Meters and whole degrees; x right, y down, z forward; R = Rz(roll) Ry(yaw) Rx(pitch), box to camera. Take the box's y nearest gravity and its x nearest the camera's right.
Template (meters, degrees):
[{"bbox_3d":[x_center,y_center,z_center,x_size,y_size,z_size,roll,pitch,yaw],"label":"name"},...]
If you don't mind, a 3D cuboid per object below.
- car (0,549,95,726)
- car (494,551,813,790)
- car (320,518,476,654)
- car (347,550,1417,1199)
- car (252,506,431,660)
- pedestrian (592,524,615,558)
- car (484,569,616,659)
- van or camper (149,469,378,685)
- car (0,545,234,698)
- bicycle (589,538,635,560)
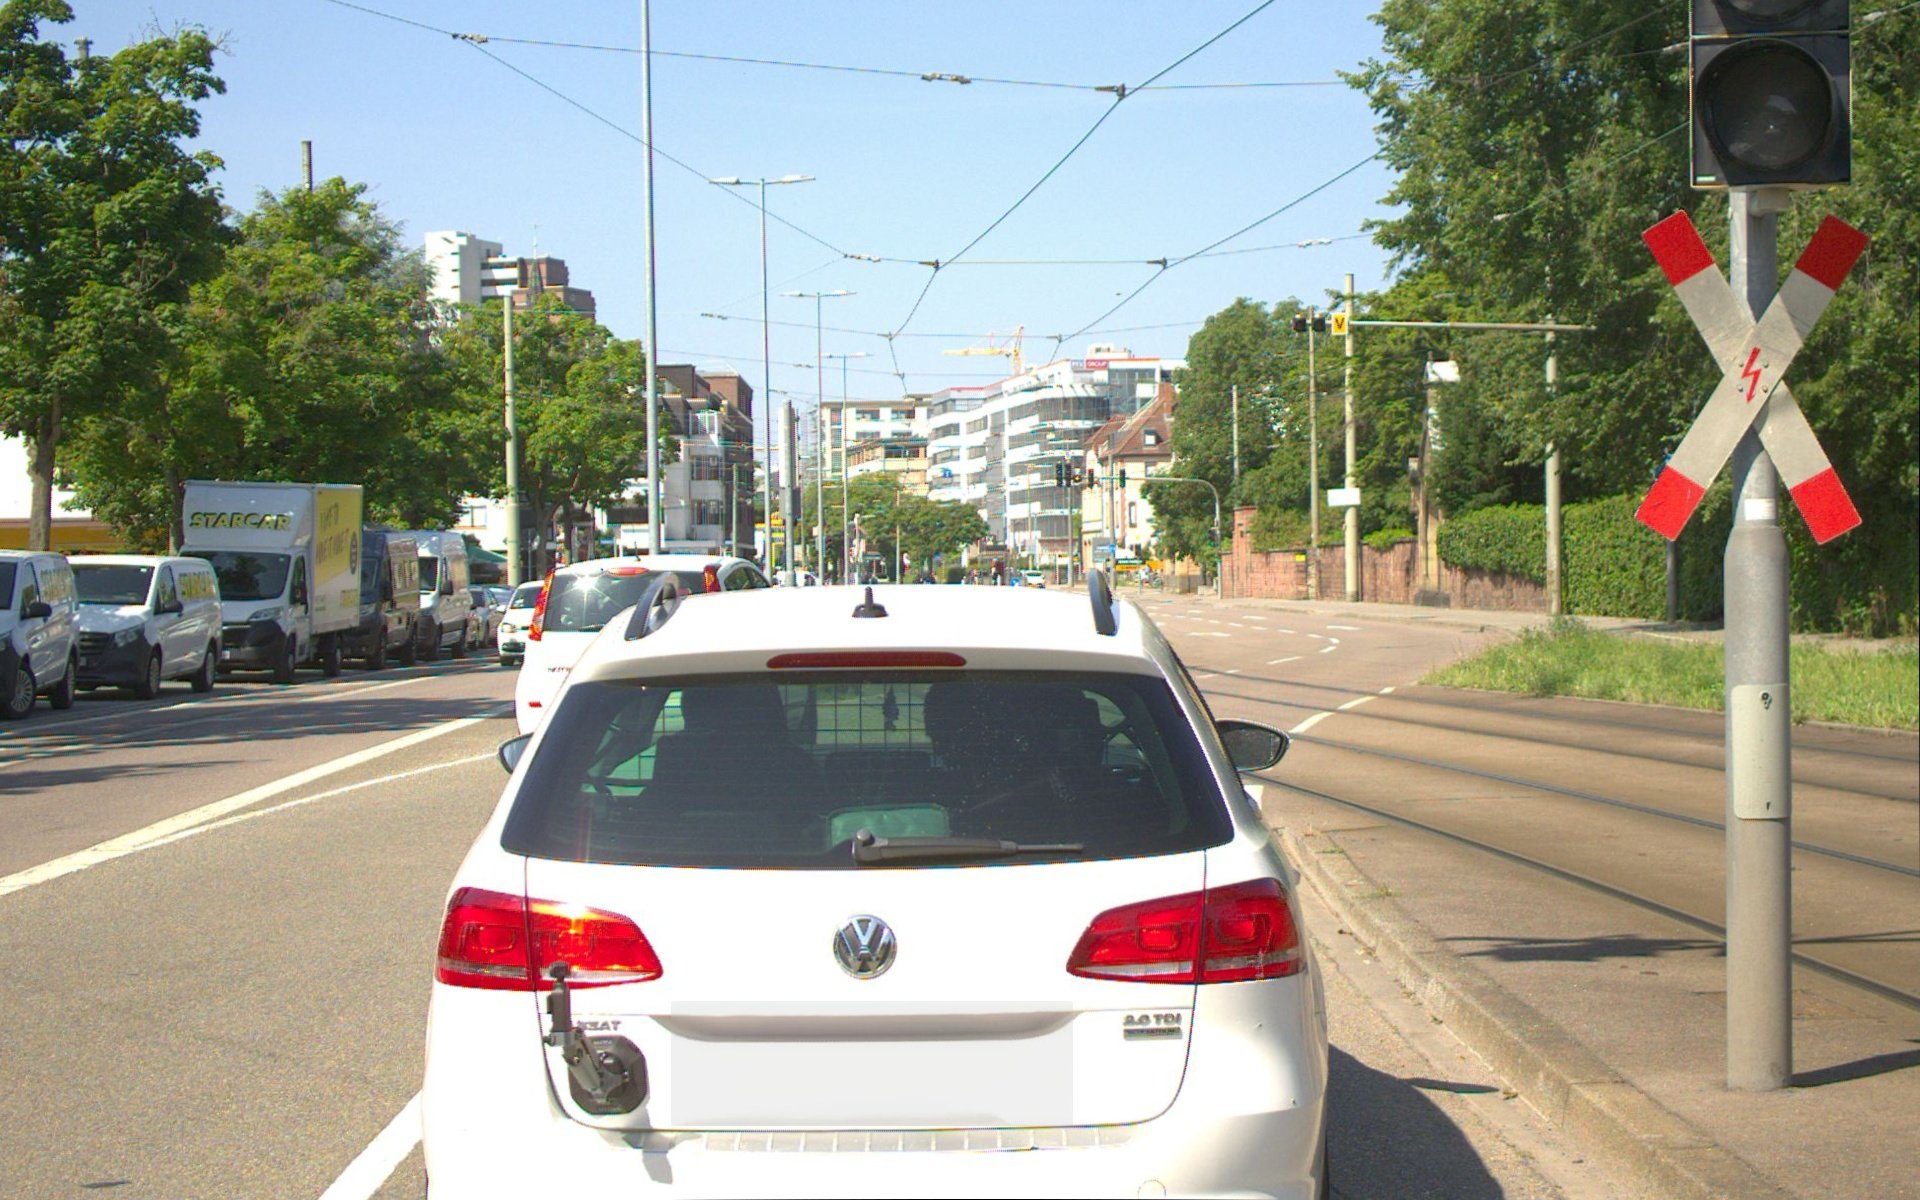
[{"bbox_3d":[-11.648,0.408,39.980,2.195,1.934,5.186,-1,1,-5],"label":"car"},{"bbox_3d":[-2.139,0.450,25.004,1.730,1.591,4.011,0,1,3],"label":"car"},{"bbox_3d":[-11.367,-0.307,69.934,2.196,2.622,5.979,1,1,0],"label":"car"},{"bbox_3d":[-0.131,0.647,7.675,1.778,1.485,3.847,1,1,0],"label":"car"},{"bbox_3d":[-11.302,-0.331,63.216,2.196,2.659,6.080,1,1,0],"label":"car"},{"bbox_3d":[-15.745,-2.591,151.714,0.566,1.482,0.814,-1,1,43],"label":"pedestrian"},{"bbox_3d":[-7.060,0.216,59.523,1.727,1.460,4.000,-1,1,1],"label":"car"},{"bbox_3d":[-11.085,-0.387,55.284,2.196,3.230,6.772,1,1,1],"label":"van or camper"},{"bbox_3d":[-11.506,0.247,46.997,2.195,1.934,5.185,-1,1,-2],"label":"car"},{"bbox_3d":[-15.316,-2.251,151.332,0.553,0.918,2.172,-1,1,43],"label":"bicycle"}]
